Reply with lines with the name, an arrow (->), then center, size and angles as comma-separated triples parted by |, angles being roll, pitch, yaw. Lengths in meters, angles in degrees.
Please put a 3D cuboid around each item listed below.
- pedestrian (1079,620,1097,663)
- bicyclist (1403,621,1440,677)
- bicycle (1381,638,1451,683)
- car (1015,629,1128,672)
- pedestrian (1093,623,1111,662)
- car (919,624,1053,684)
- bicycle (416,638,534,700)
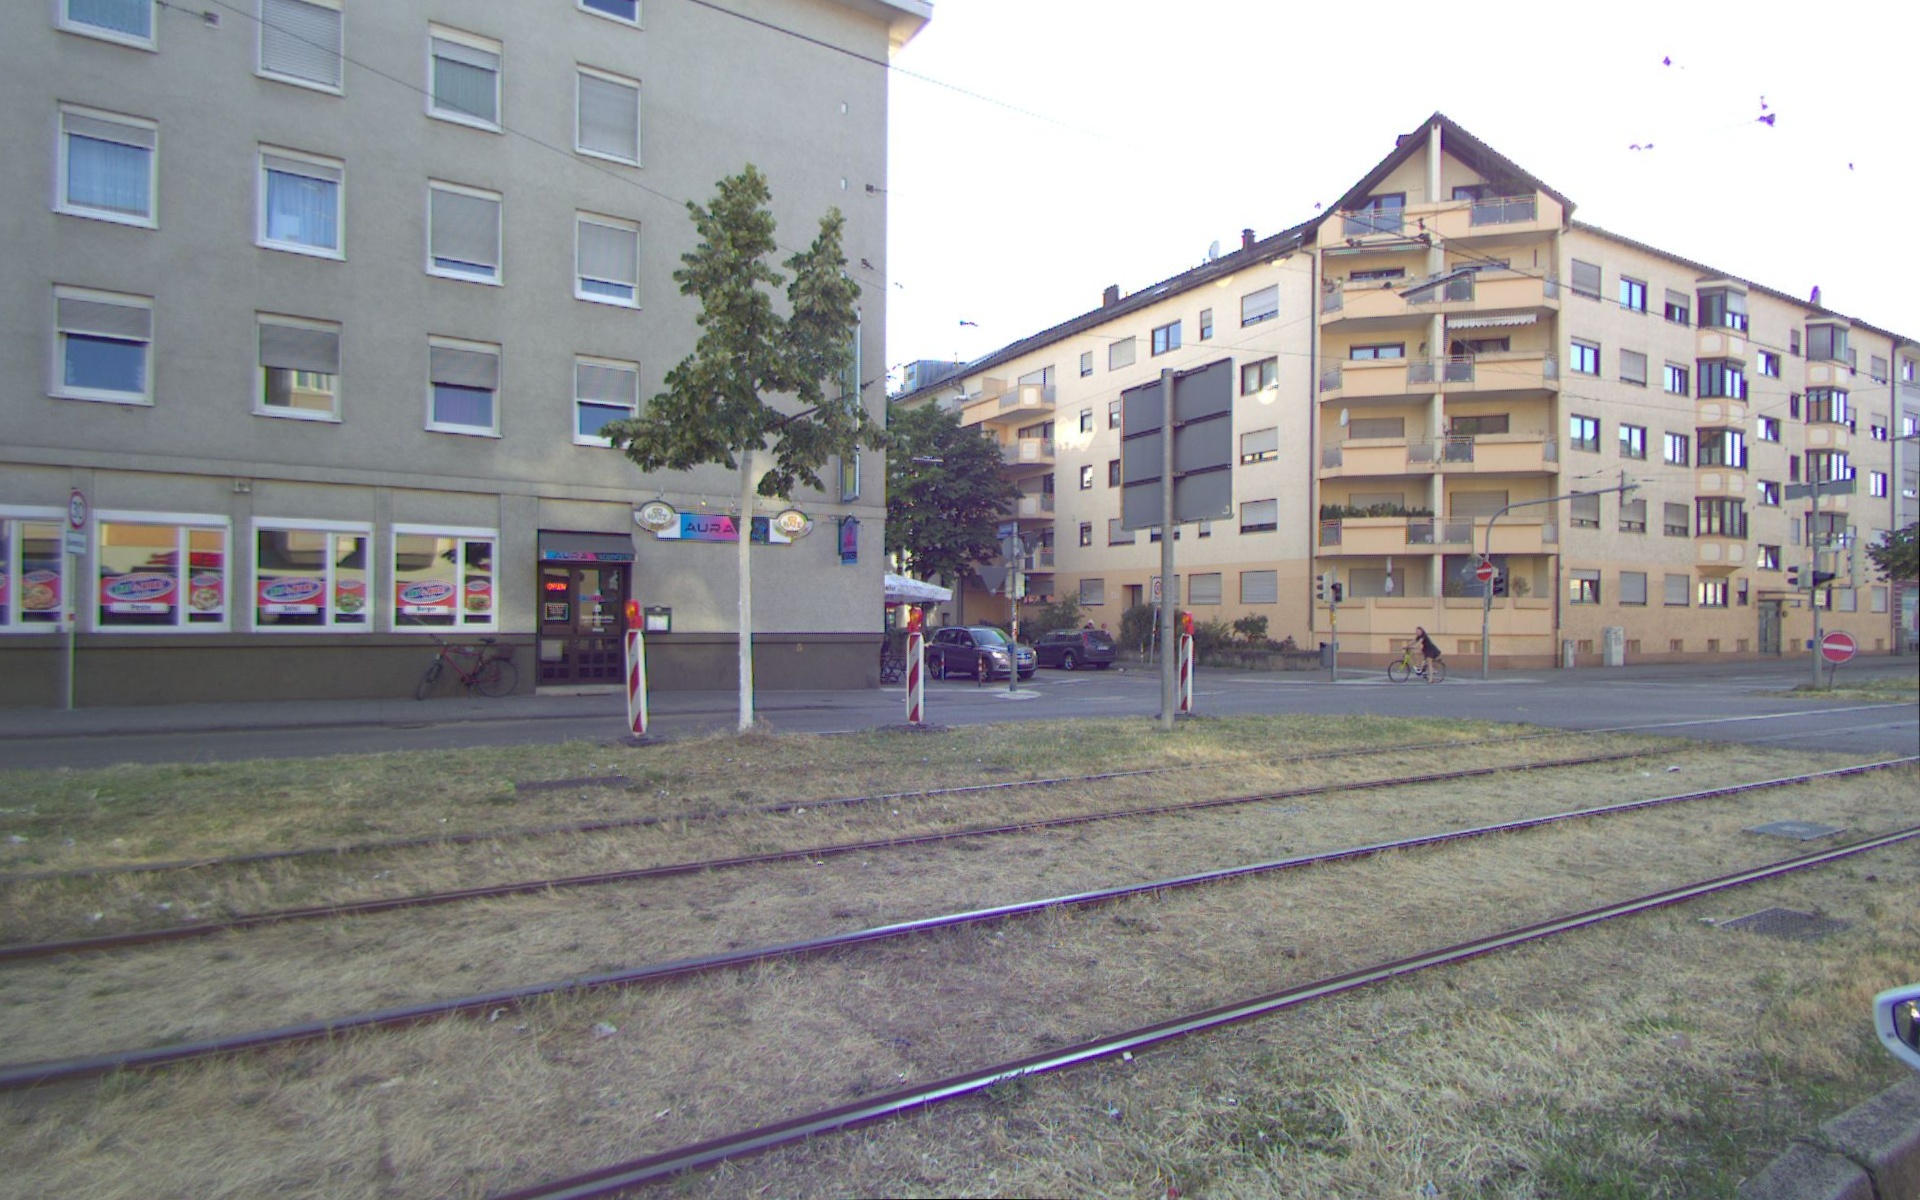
pedestrian -> 5.235, 1.681, 41.044 | 0.456, 1.727, 0.589 | 2, 0, -24
bicyclist -> 13.460, 1.427, 29.305 | 0.793, 1.607, 0.628 | 0, 0, 4
bicycle -> 13.303, 1.754, 29.328 | 1.833, 1.274, 0.457 | 0, 0, 3
car -> 4.129, 1.862, 37.661 | 1.982, 1.461, 3.957 | -1, -1, -38
pedestrian -> 5.833, 1.740, 41.212 | 0.509, 1.573, 0.547 | 1, 0, -24
car -> 0.746, 1.632, 31.434 | 1.982, 1.645, 4.153 | -2, 0, -38
bicycle -> -8.555, 1.205, 17.737 | 1.823, 1.037, 0.605 | 2, 0, -31
